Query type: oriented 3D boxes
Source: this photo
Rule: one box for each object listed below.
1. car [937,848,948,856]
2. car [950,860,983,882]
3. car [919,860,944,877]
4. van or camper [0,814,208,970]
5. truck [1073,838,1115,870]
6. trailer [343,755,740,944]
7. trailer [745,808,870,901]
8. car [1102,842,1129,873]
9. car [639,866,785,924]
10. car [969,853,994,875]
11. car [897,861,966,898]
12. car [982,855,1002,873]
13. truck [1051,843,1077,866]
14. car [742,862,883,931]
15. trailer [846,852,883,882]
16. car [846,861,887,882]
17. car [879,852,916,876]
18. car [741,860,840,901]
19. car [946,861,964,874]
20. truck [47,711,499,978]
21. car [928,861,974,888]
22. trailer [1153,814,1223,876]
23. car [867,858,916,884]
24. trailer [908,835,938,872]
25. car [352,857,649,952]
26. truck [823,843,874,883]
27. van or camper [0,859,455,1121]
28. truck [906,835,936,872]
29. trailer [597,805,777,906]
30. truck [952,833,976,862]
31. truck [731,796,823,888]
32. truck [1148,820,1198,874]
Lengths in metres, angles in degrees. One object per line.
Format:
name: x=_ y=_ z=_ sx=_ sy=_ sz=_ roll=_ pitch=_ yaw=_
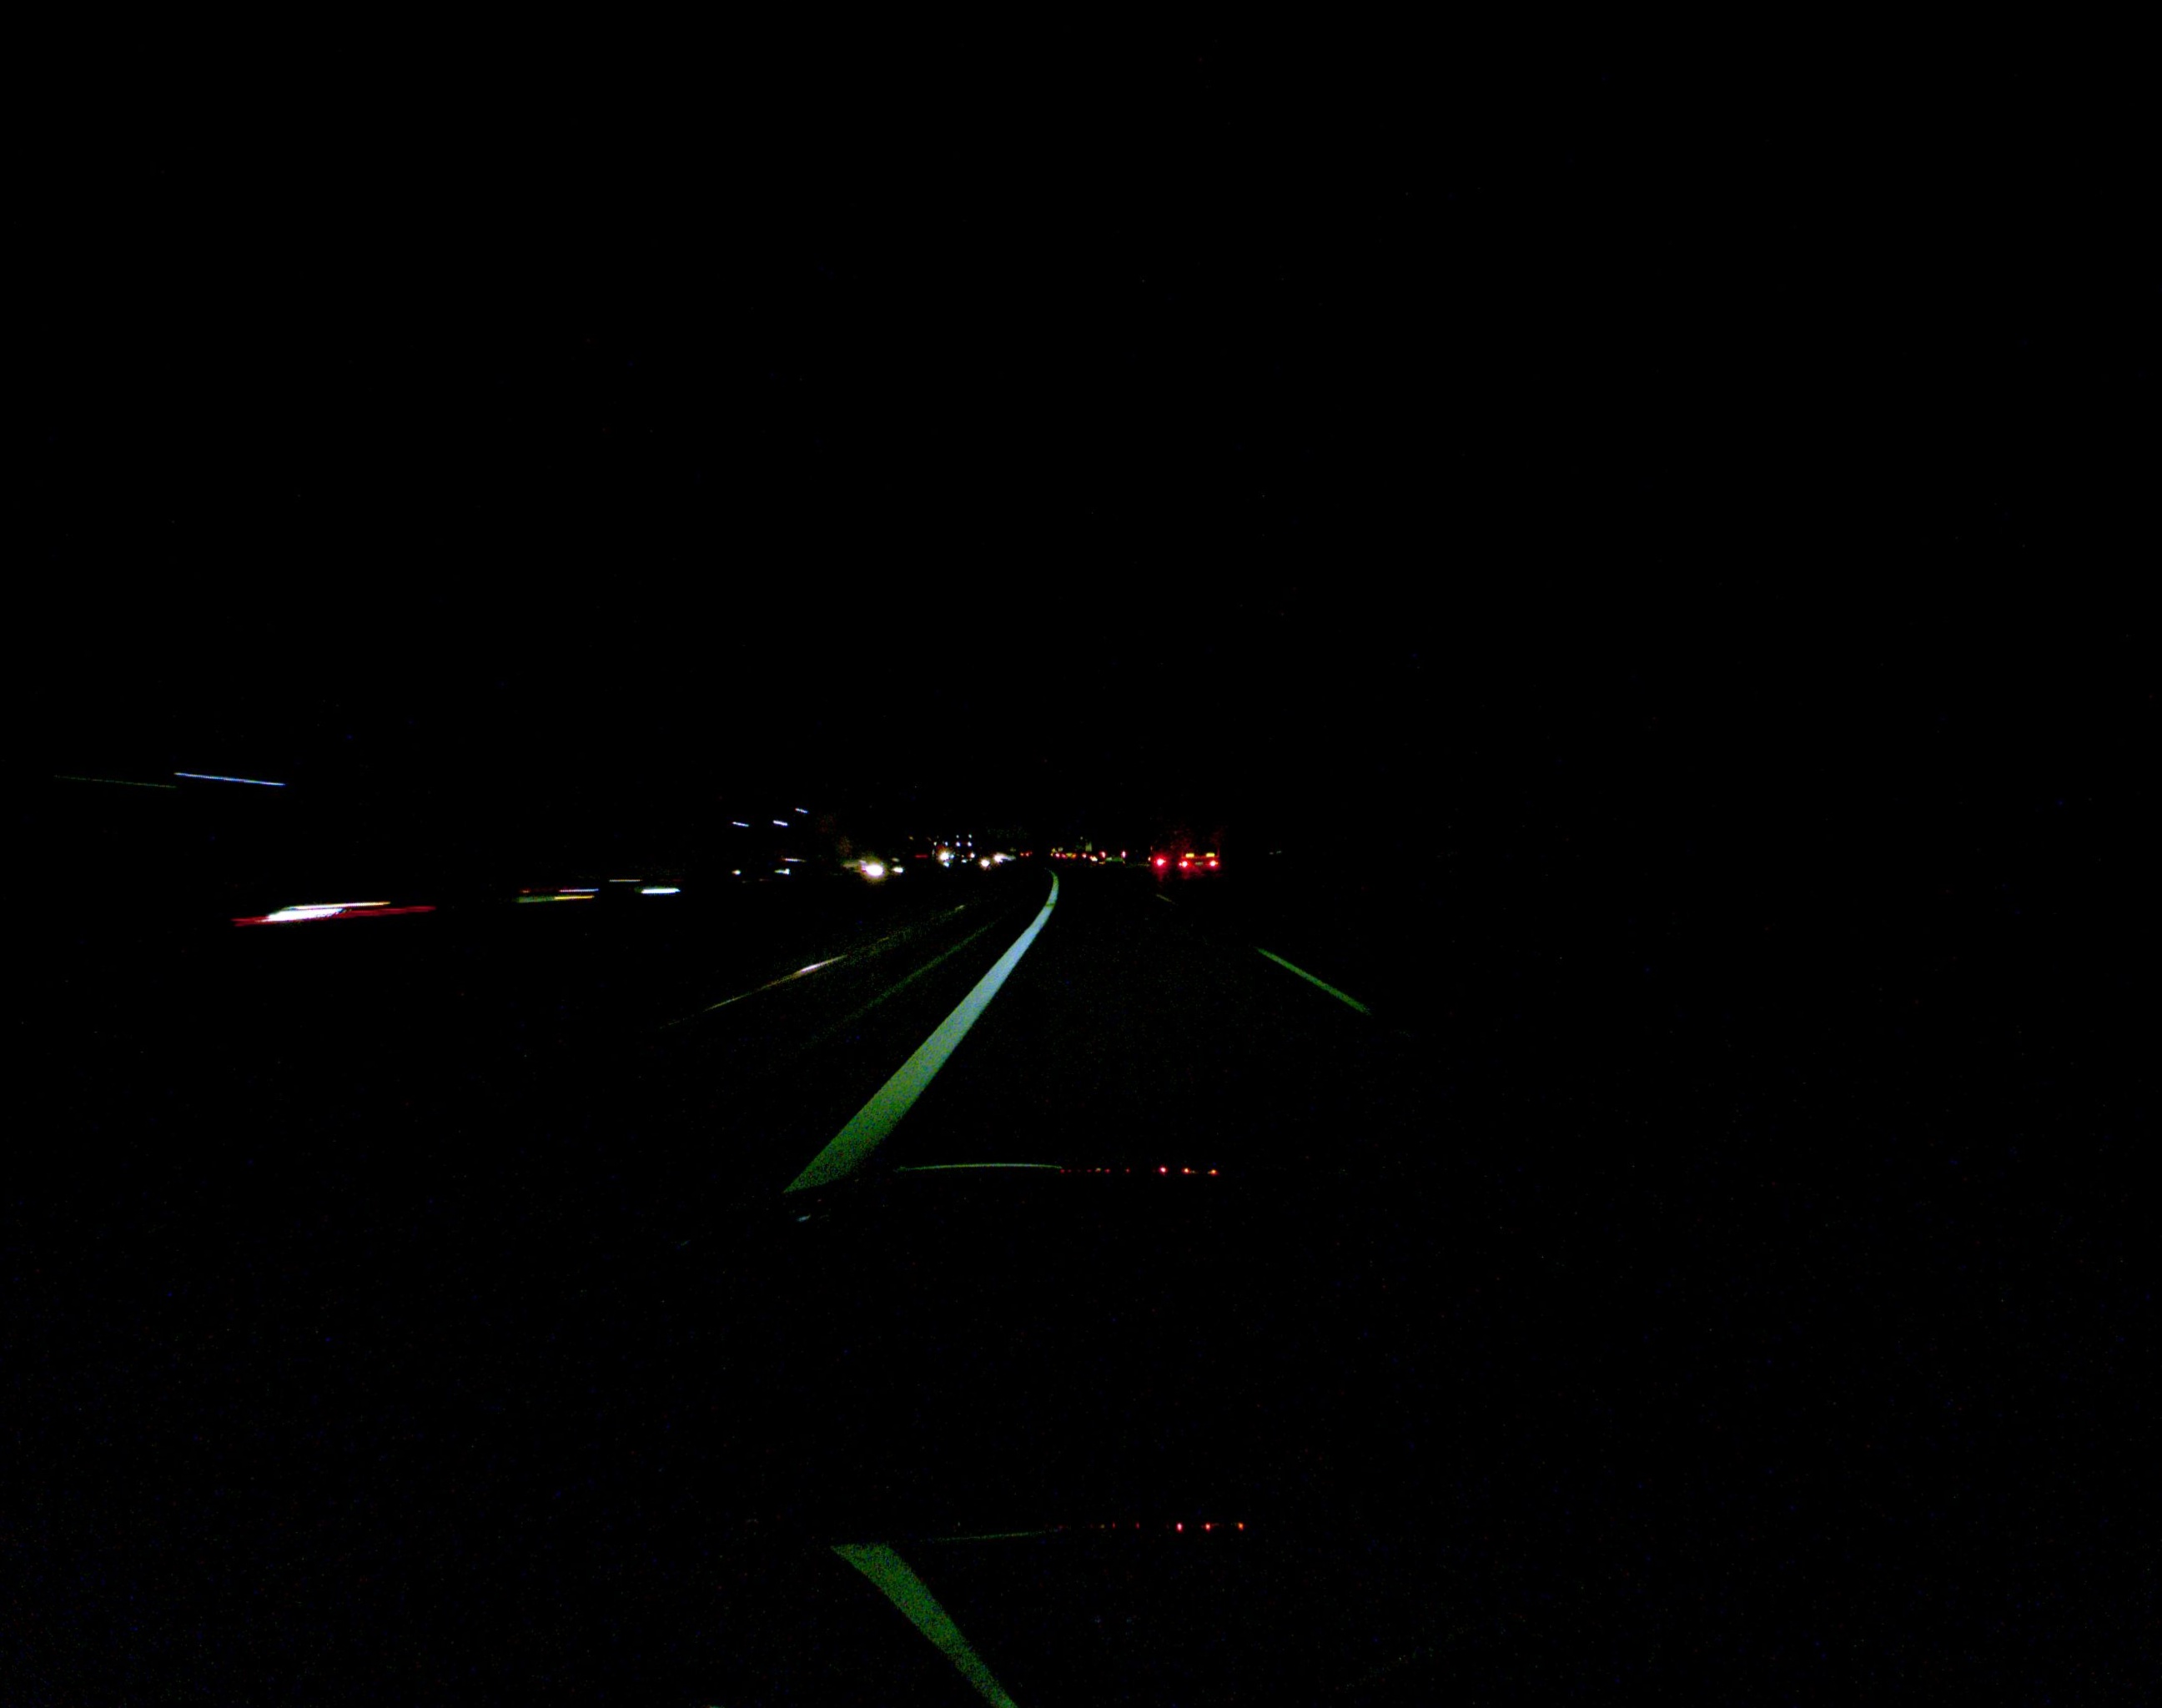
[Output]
car: x=-25.370 y=-0.311 z=149.423 sx=1.651 sy=1.477 sz=3.767 roll=-1 pitch=0 yaw=-6
car: x=-8.206 y=1.281 z=58.700 sx=1.620 sy=1.492 sz=4.866 roll=0 pitch=-2 yaw=0
car: x=-13.868 y=1.348 z=75.755 sx=1.901 sy=1.492 sz=4.858 roll=-1 pitch=-1 yaw=-5
van or camper: x=-19.311 y=0.651 z=13.204 sx=2.574 sy=2.593 sz=7.111 roll=-1 pitch=0 yaw=0
truck: x=1.819 y=-0.032 z=129.606 sx=3.911 sy=4.627 sz=20.970 roll=-1 pitch=0 yaw=-6
trailer: x=-15.094 y=-0.086 z=25.467 sx=2.867 sy=4.184 sz=14.517 roll=-1 pitch=0 yaw=-1
trailer: x=-15.651 y=0.078 z=48.263 sx=2.833 sy=4.464 sz=14.507 roll=-5 pitch=0 yaw=-3
car: x=3.058 y=0.395 z=73.721 sx=2.328 sy=2.640 sz=5.248 roll=1 pitch=-2 yaw=1
car: x=-10.761 y=1.137 z=24.223 sx=1.896 sy=1.492 sz=4.871 roll=-1 pitch=-1 yaw=3
car: x=-9.243 y=0.954 z=75.906 sx=1.871 sy=1.923 sz=4.864 roll=-1 pitch=-1 yaw=-2
car: x=-6.561 y=1.099 z=36.253 sx=1.896 sy=1.492 sz=4.871 roll=-1 pitch=-1 yaw=3
car: x=-9.800 y=1.089 z=89.866 sx=1.872 sy=1.923 sz=5.595 roll=-1 pitch=-1 yaw=-4
truck: x=-3.560 y=0.056 z=169.616 sx=3.344 sy=4.476 sz=13.864 roll=2 pitch=-1 yaw=-9
car: x=-6.585 y=0.982 z=20.630 sx=1.897 sy=1.492 sz=4.867 roll=-1 pitch=-1 yaw=1
trailer: x=-20.485 y=1.226 z=77.274 sx=2.359 sy=2.744 sz=4.984 roll=-1 pitch=0 yaw=-4
car: x=-16.125 y=1.308 z=61.452 sx=1.899 sy=1.492 sz=4.864 roll=-1 pitch=0 yaw=-2
car: x=-16.034 y=0.904 z=71.440 sx=1.896 sy=1.887 sz=5.022 roll=0 pitch=-2 yaw=2
car: x=-11.627 y=1.023 z=33.013 sx=1.896 sy=1.492 sz=5.263 roll=-1 pitch=-1 yaw=3
car: x=-13.559 y=1.494 z=87.792 sx=1.625 sy=1.350 sz=3.993 roll=2 pitch=-2 yaw=-4
truck: x=-15.043 y=-0.133 z=16.031 sx=2.857 sy=4.210 sz=6.102 roll=-1 pitch=-1 yaw=-2
car: x=-7.681 y=1.215 z=48.641 sx=1.897 sy=1.492 sz=4.867 roll=-1 pitch=-1 yaw=0
trailer: x=7.687 y=-0.551 z=60.468 sx=2.847 sy=4.067 sz=13.192 roll=-1 pitch=0 yaw=-2
car: x=-11.361 y=1.005 z=49.233 sx=1.898 sy=1.492 sz=4.865 roll=-1 pitch=-1 yaw=-1
trailer: x=-18.071 y=-0.050 z=93.616 sx=2.818 sy=3.917 sz=8.716 roll=-2 pitch=0 yaw=-8
car: x=-10.555 y=0.833 z=15.430 sx=1.896 sy=1.492 sz=4.940 roll=-1 pitch=-1 yaw=3
truck: x=-20.127 y=0.721 z=70.883 sx=2.488 sy=3.218 sz=7.905 roll=-1 pitch=0 yaw=-3
van or camper: x=-6.880 y=0.784 z=5.257 sx=1.732 sy=1.465 sz=4.871 roll=-1 pitch=-1 yaw=3
truck: x=-17.500 y=-0.045 z=89.372 sx=2.826 sy=3.916 sz=4.921 roll=-2 pitch=0 yaw=-8
trailer: x=-19.245 y=0.114 z=41.334 sx=2.832 sy=4.172 sz=13.274 roll=-3 pitch=0 yaw=-2
truck: x=-18.228 y=-0.963 z=127.647 sx=3.103 sy=4.098 sz=7.064 roll=2 pitch=-2 yaw=-4
truck: x=-15.285 y=-0.548 z=41.405 sx=2.610 sy=4.269 sz=5.952 roll=-1 pitch=-1 yaw=-2
truck: x=7.411 y=-0.536 z=66.584 sx=2.855 sy=4.077 sz=7.502 roll=-1 pitch=0 yaw=-3
